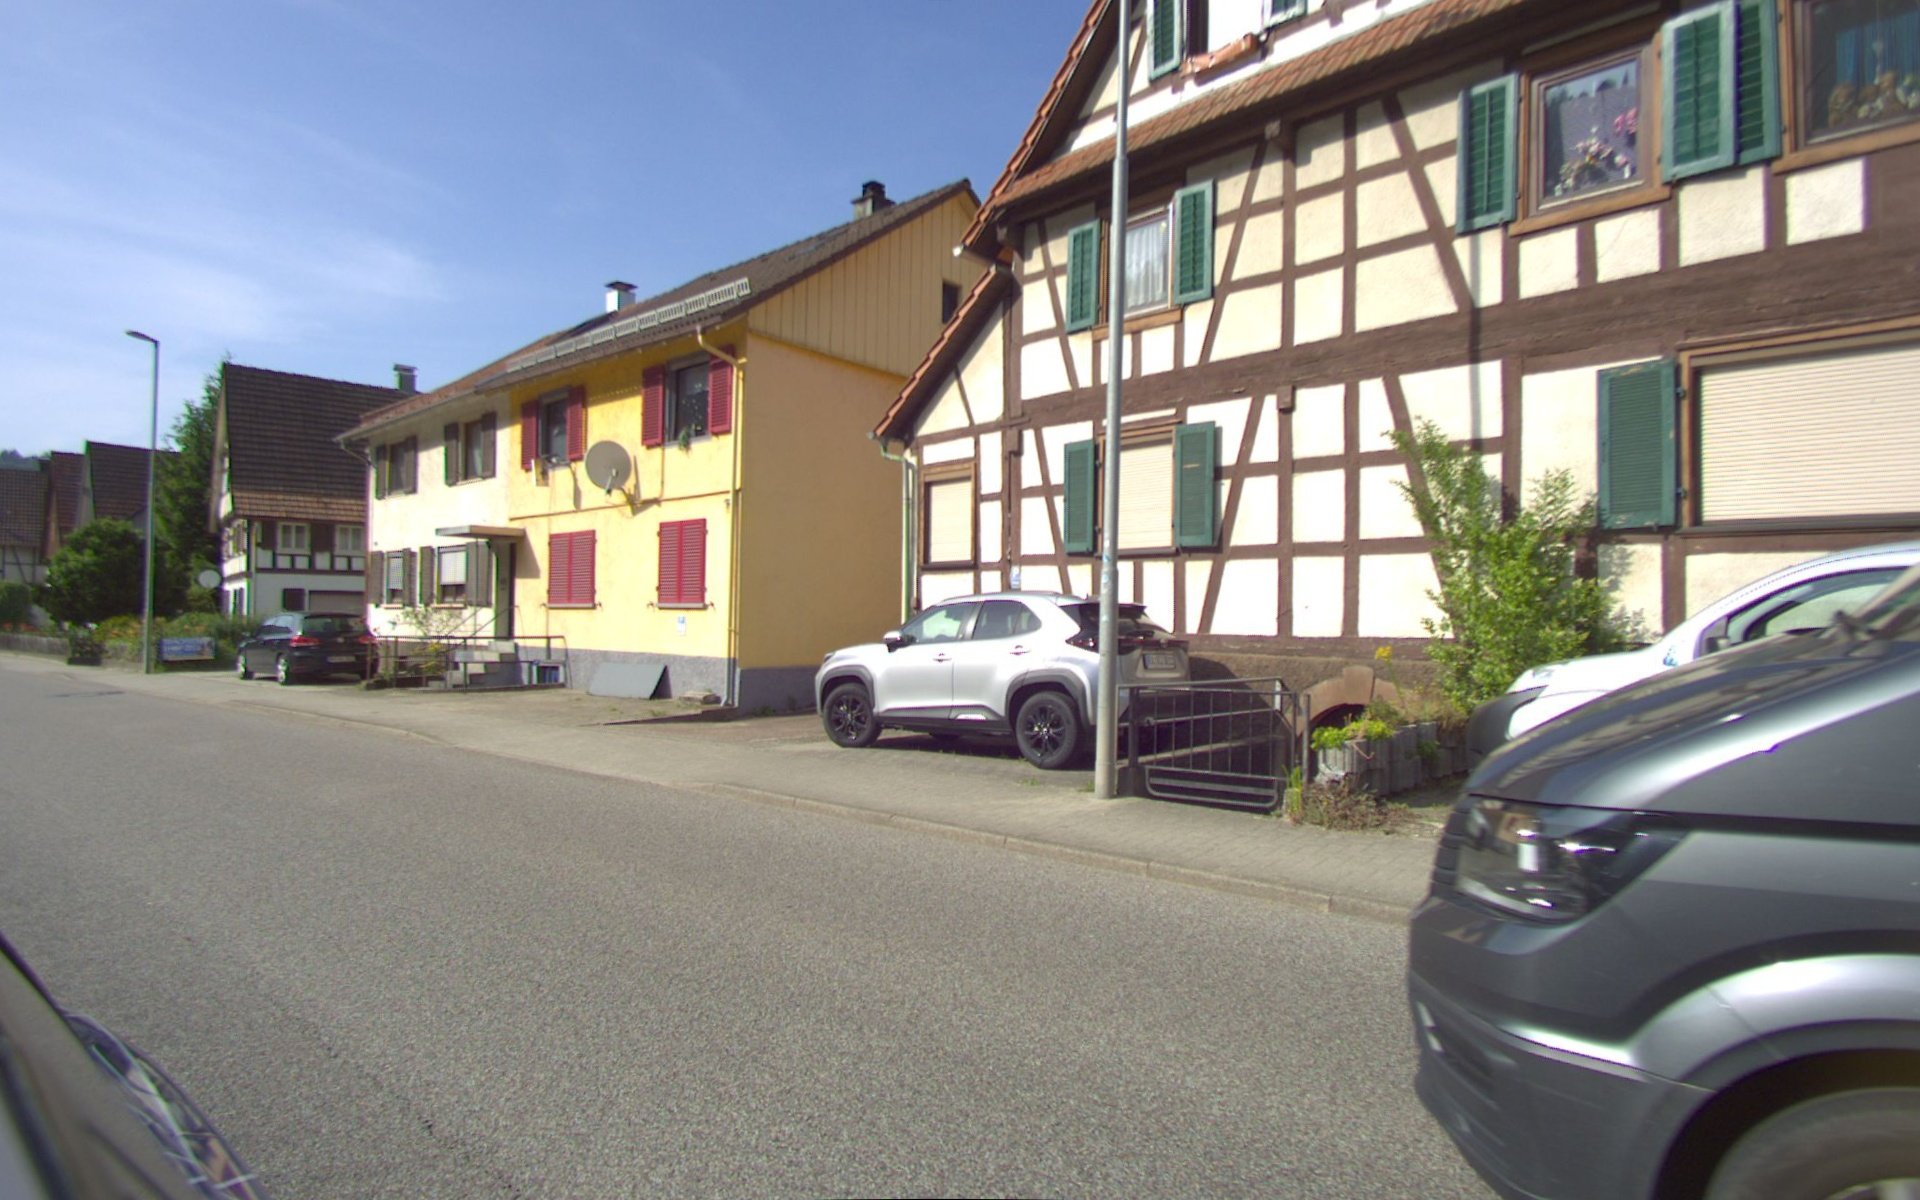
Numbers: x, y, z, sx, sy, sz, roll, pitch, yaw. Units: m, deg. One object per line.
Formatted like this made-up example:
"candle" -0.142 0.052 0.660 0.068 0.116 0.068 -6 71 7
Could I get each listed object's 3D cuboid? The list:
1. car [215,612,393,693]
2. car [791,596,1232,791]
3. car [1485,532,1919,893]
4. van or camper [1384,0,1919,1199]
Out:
"car" -14.026 1.056 21.578 4.229 1.530 1.867 -1 -1 37
"car" 0.384 0.819 10.029 4.091 1.530 1.865 -2 -3 41
"car" 5.303 0.524 5.193 1.879 1.677 4.270 1 -1 -45
"van or camper" 4.176 -0.126 0.330 7.126 2.961 2.171 -2 -2 43
